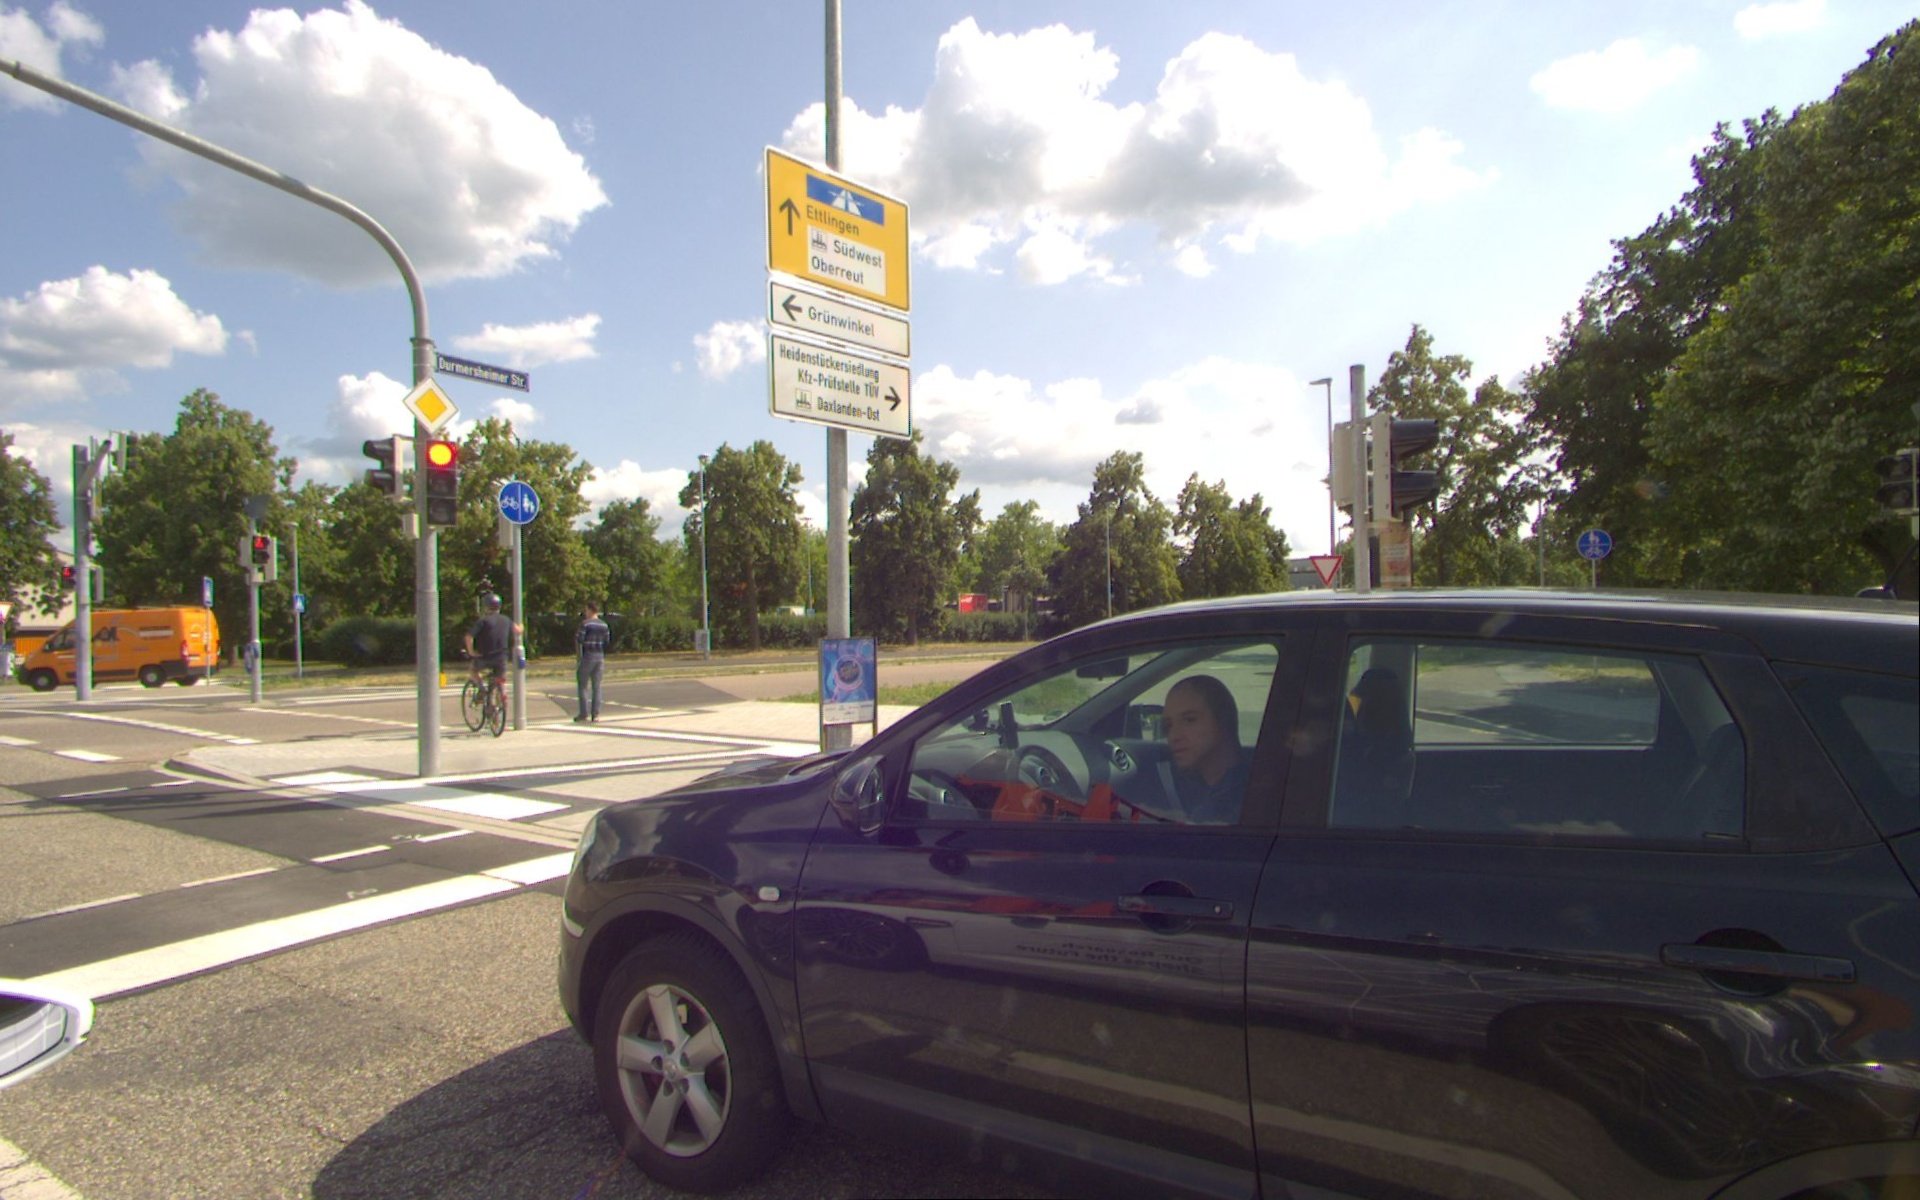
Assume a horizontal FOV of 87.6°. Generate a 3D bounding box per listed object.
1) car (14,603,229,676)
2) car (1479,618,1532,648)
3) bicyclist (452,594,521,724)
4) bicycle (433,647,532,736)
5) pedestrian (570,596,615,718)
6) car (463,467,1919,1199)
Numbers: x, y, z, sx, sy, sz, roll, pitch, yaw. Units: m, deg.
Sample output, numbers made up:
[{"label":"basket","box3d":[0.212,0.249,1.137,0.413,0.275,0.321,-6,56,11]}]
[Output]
[{"label":"car","box3d":[-26.823,1.306,32.243,4.768,2.253,2.212,1,-3,-10]},{"label":"car","box3d":[23.177,1.438,42.629,1.886,1.192,3.767,-2,-4,27]},{"label":"bicyclist","box3d":[-6.365,0.789,13.452,0.644,1.682,0.644,2,-4,-44]},{"label":"bicycle","box3d":[-6.499,1.214,13.575,0.644,1.121,1.910,3,-4,-43]},{"label":"pedestrian","box3d":[-5.570,0.862,15.180,0.477,1.800,0.462,-2,-3,42]},{"label":"car","box3d":[0.664,0.690,2.776,3.941,1.571,1.798,-2,-4,31]}]
